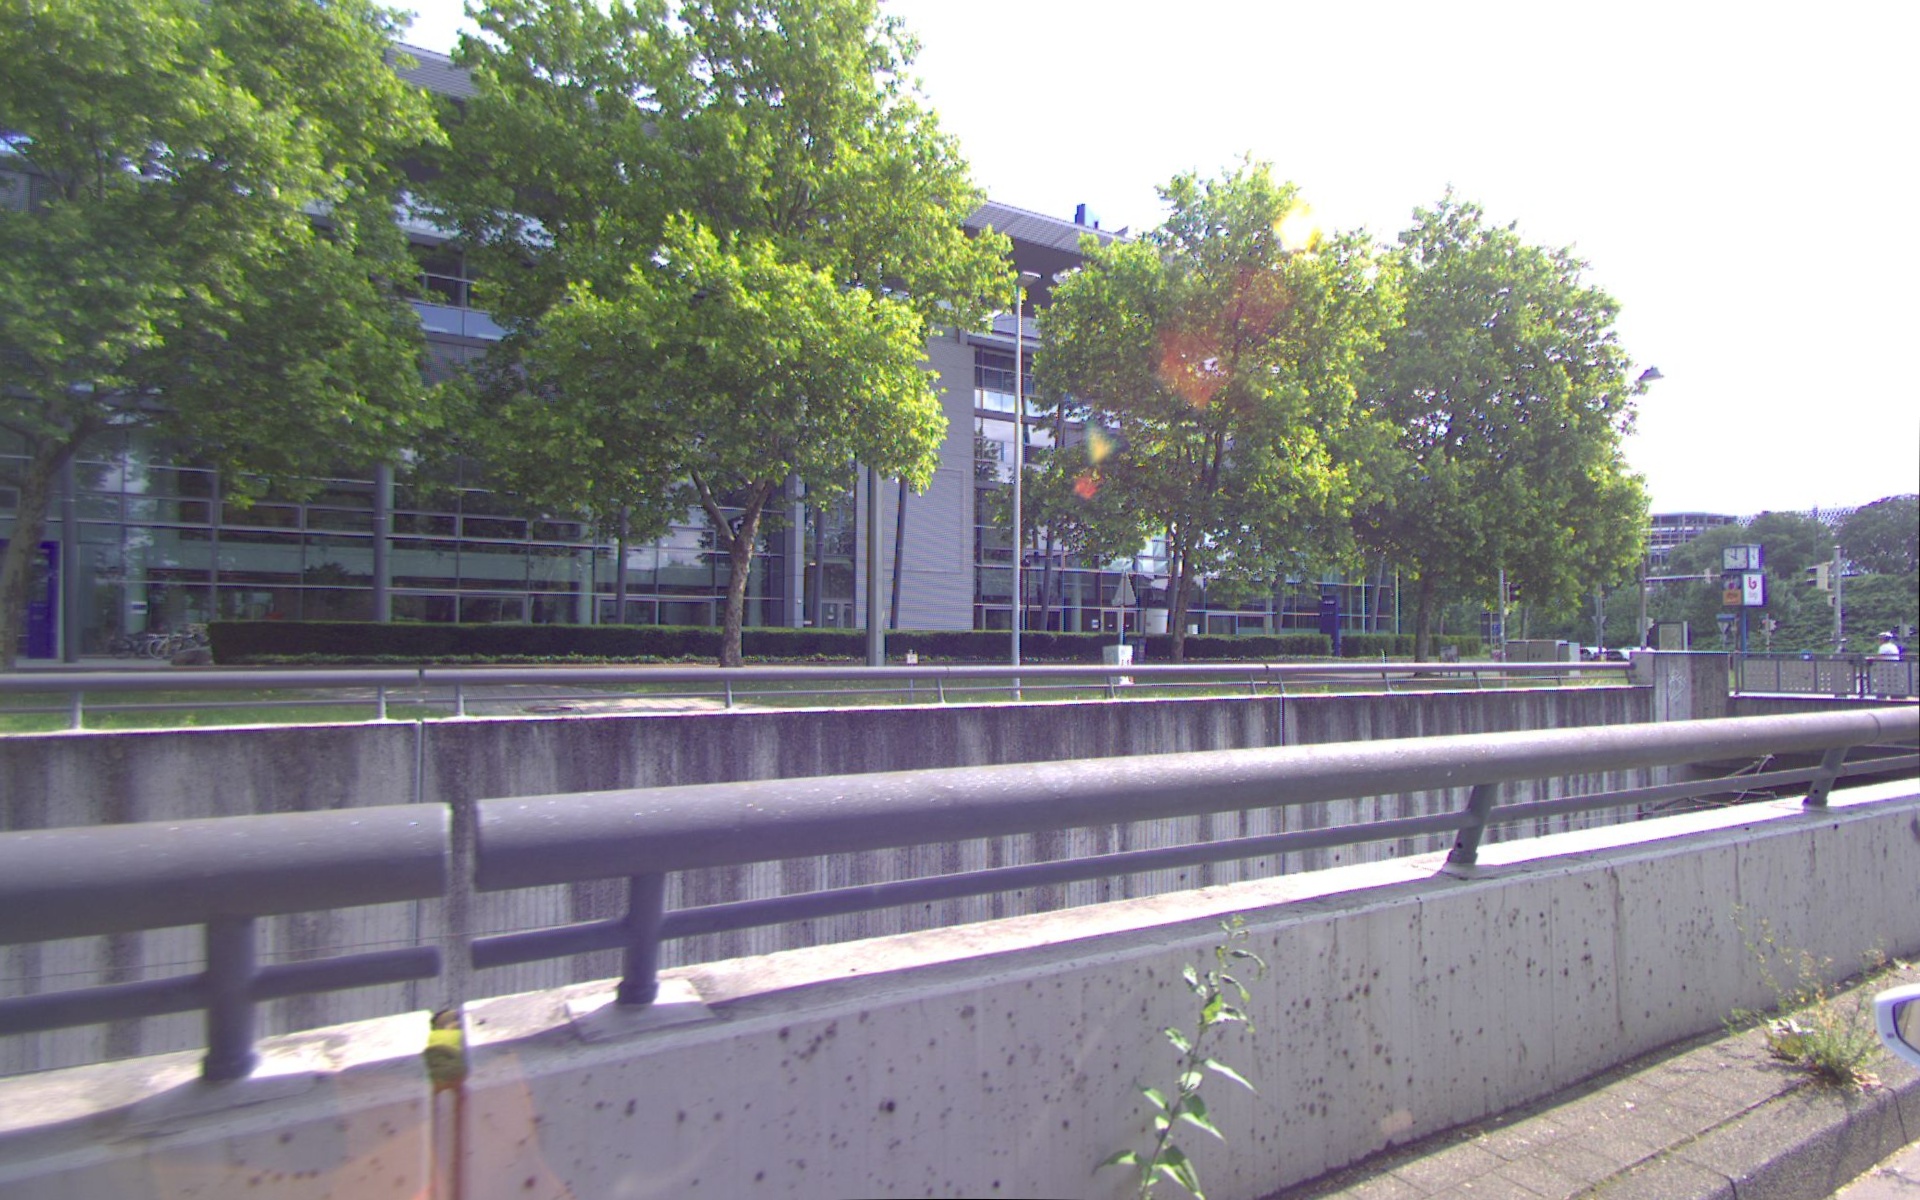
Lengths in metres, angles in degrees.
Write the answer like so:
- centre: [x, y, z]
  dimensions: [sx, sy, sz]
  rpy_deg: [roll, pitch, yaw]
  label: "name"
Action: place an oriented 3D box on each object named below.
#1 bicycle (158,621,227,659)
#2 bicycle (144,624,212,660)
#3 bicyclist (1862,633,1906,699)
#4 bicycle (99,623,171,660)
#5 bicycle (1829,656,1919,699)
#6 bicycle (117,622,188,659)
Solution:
- centre: [-24.794, 1.280, 32.493]
  dimensions: [0.624, 1.165, 2.270]
  rpy_deg: [1, -2, -5]
  label: "bicycle"
- centre: [-25.903, 1.393, 33.330]
  dimensions: [0.624, 1.165, 2.270]
  rpy_deg: [1, -2, -6]
  label: "bicycle"
- centre: [20.187, 1.436, 21.950]
  dimensions: [0.617, 1.423, 0.508]
  rpy_deg: [1, -2, -25]
  label: "bicyclist"
- centre: [-27.176, 1.374, 33.123]
  dimensions: [0.623, 1.165, 2.270]
  rpy_deg: [1, -2, -5]
  label: "bicycle"
- centre: [20.242, 1.676, 21.842]
  dimensions: [0.604, 0.837, 1.966]
  rpy_deg: [2, -2, -26]
  label: "bicycle"
- centre: [-26.602, 1.321, 33.126]
  dimensions: [0.623, 1.165, 2.270]
  rpy_deg: [1, -2, -5]
  label: "bicycle"
